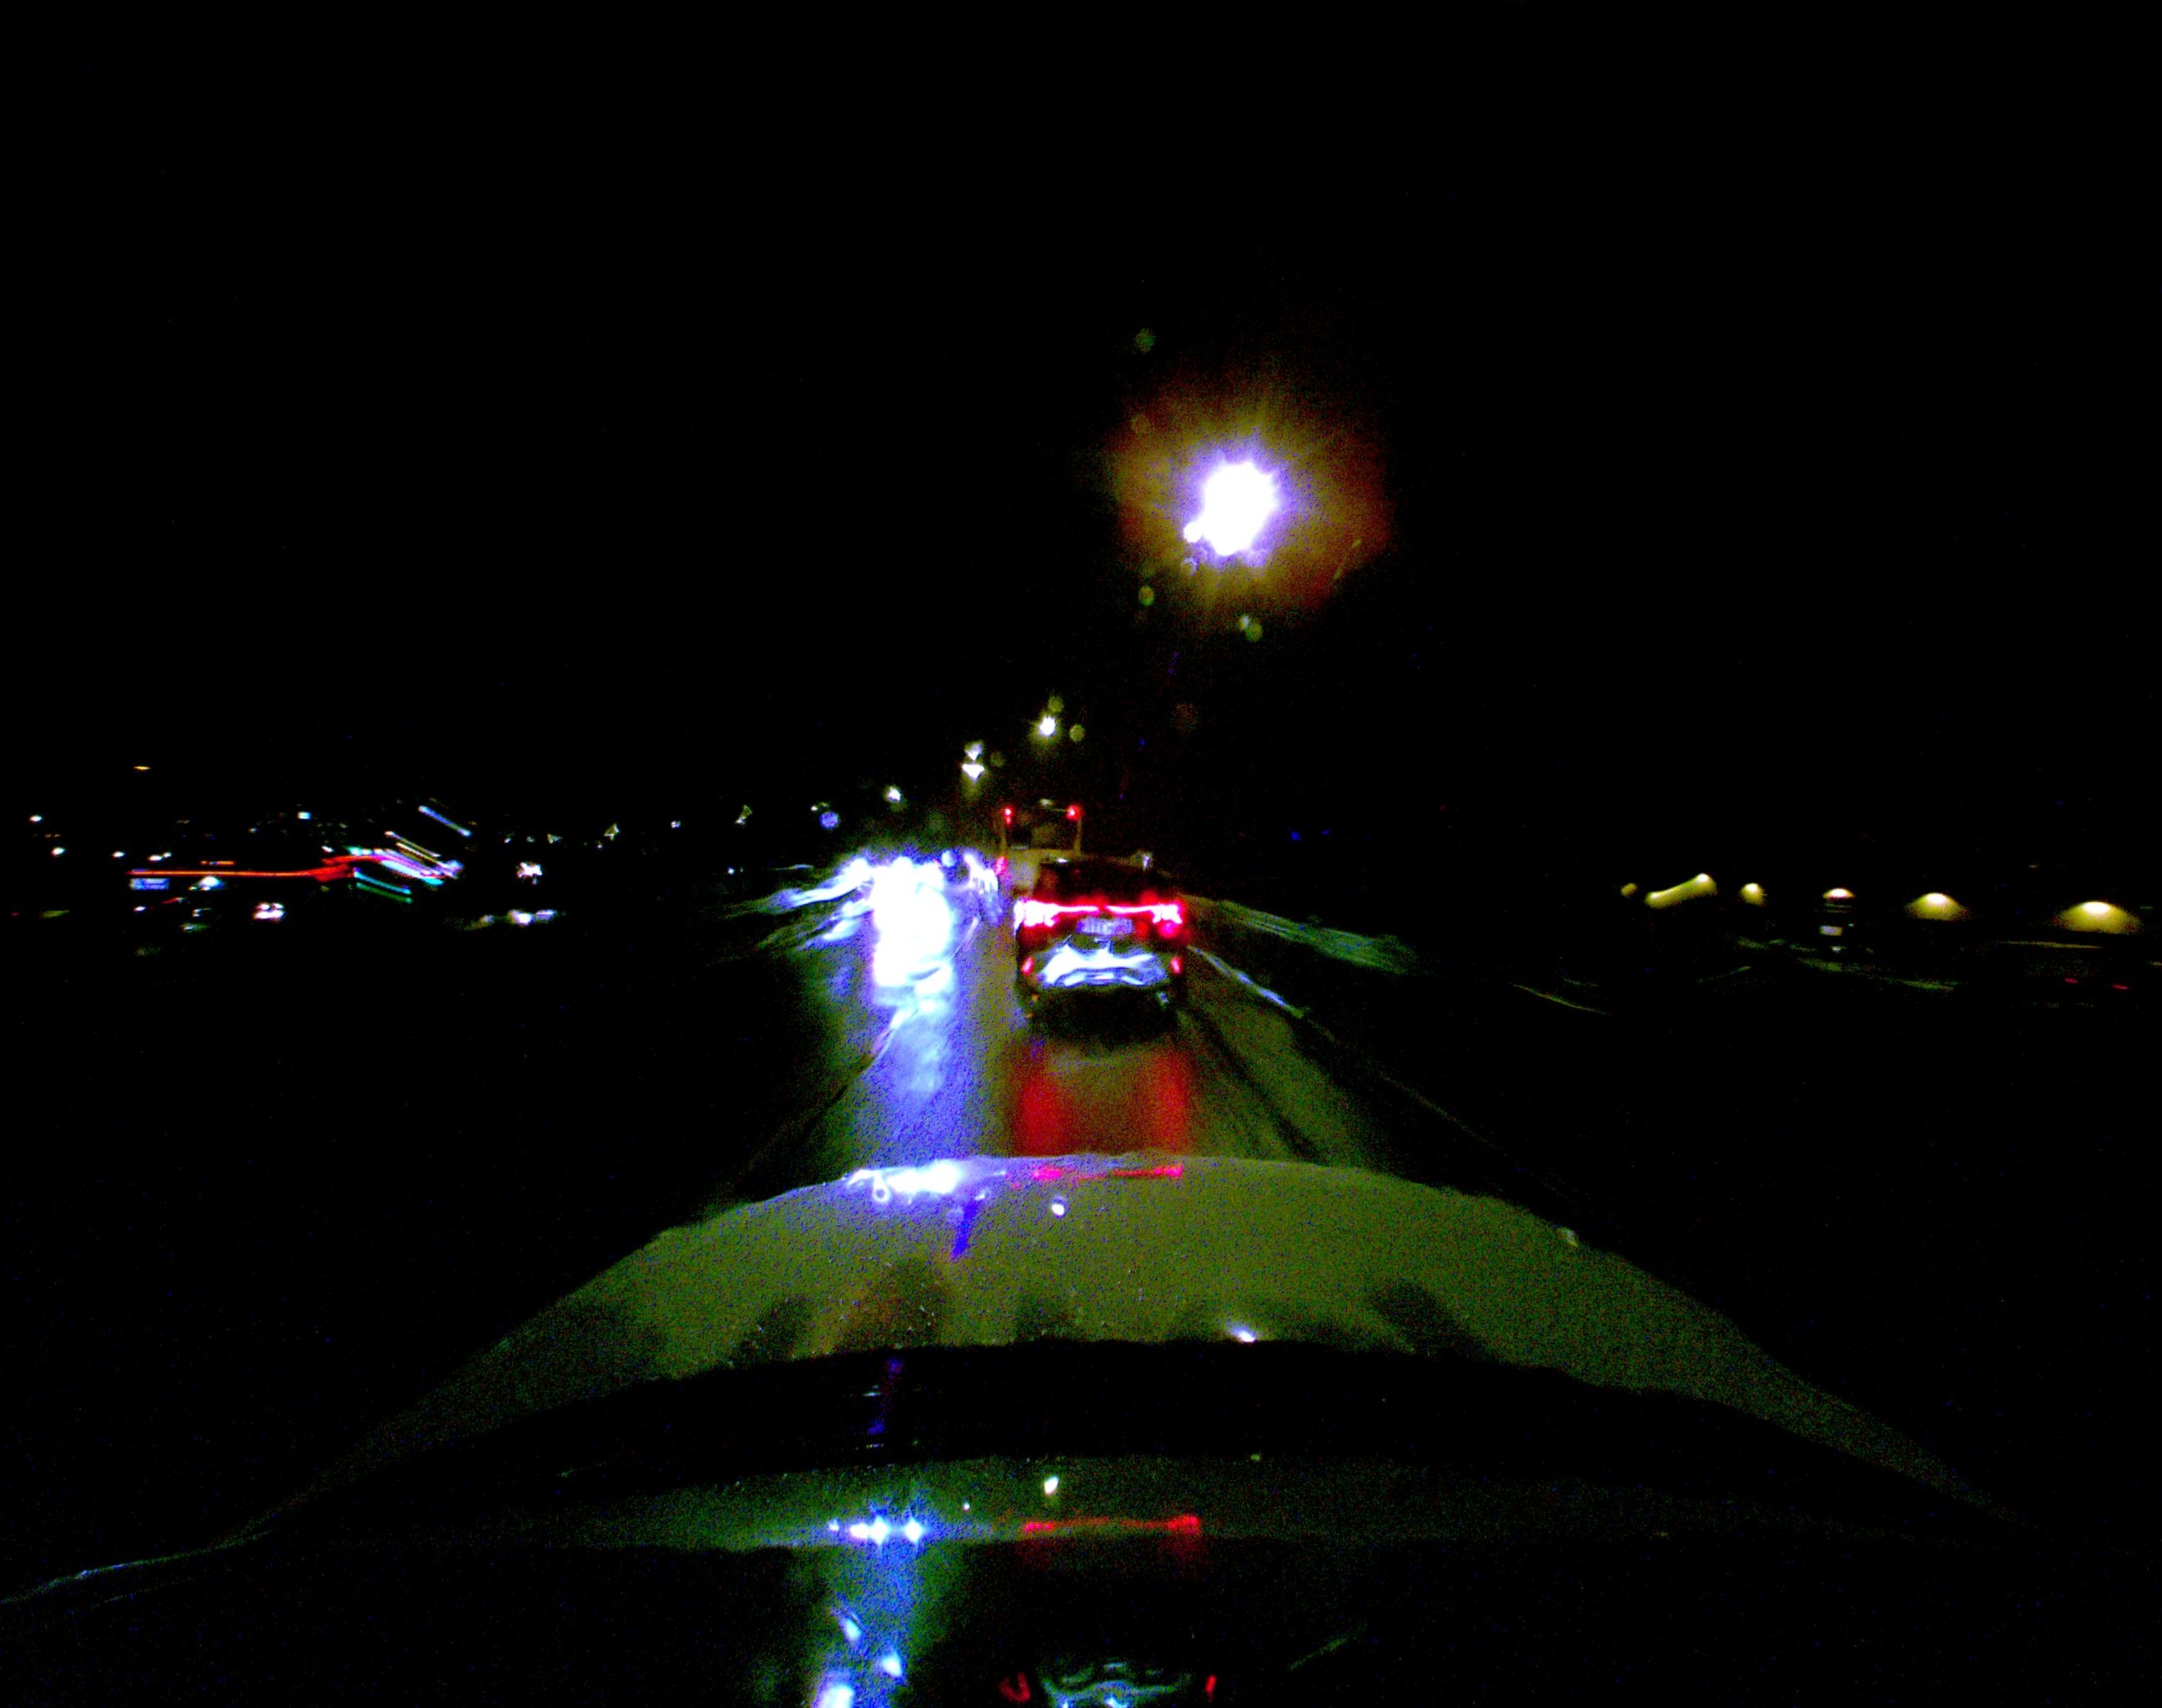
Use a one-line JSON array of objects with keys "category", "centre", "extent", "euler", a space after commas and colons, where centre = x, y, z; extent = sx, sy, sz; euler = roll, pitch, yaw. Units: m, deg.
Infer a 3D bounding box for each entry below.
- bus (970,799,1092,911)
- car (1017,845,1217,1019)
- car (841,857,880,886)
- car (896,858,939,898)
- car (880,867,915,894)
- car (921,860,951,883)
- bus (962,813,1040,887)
[{"category": "bus", "centre": [-2.266, 0.047, 29.499], "extent": [3.083, 3.133, 12.655], "euler": [-2, 0, -9]}, {"category": "car", "centre": [0.248, 0.740, 9.567], "extent": [1.851, 1.586, 3.996], "euler": [-1, -1, -3]}, {"category": "car", "centre": [-17.286, 1.360, 63.782], "extent": [2.054, 2.170, 5.111], "euler": [-1, -1, -25]}, {"category": "car", "centre": [-7.610, 1.078, 37.701], "extent": [1.780, 1.704, 4.295], "euler": [-2, 0, -13]}, {"category": "car", "centre": [-11.574, 1.636, 51.319], "extent": [1.797, 1.630, 3.968], "euler": [0, -1, -18]}, {"category": "car", "centre": [-11.347, 1.387, 63.567], "extent": [1.642, 1.656, 3.683], "euler": [-1, -2, -21]}, {"category": "bus", "centre": [-4.074, -0.133, 39.594], "extent": [3.049, 3.132, 8.048], "euler": [-2, -1, -10]}]
